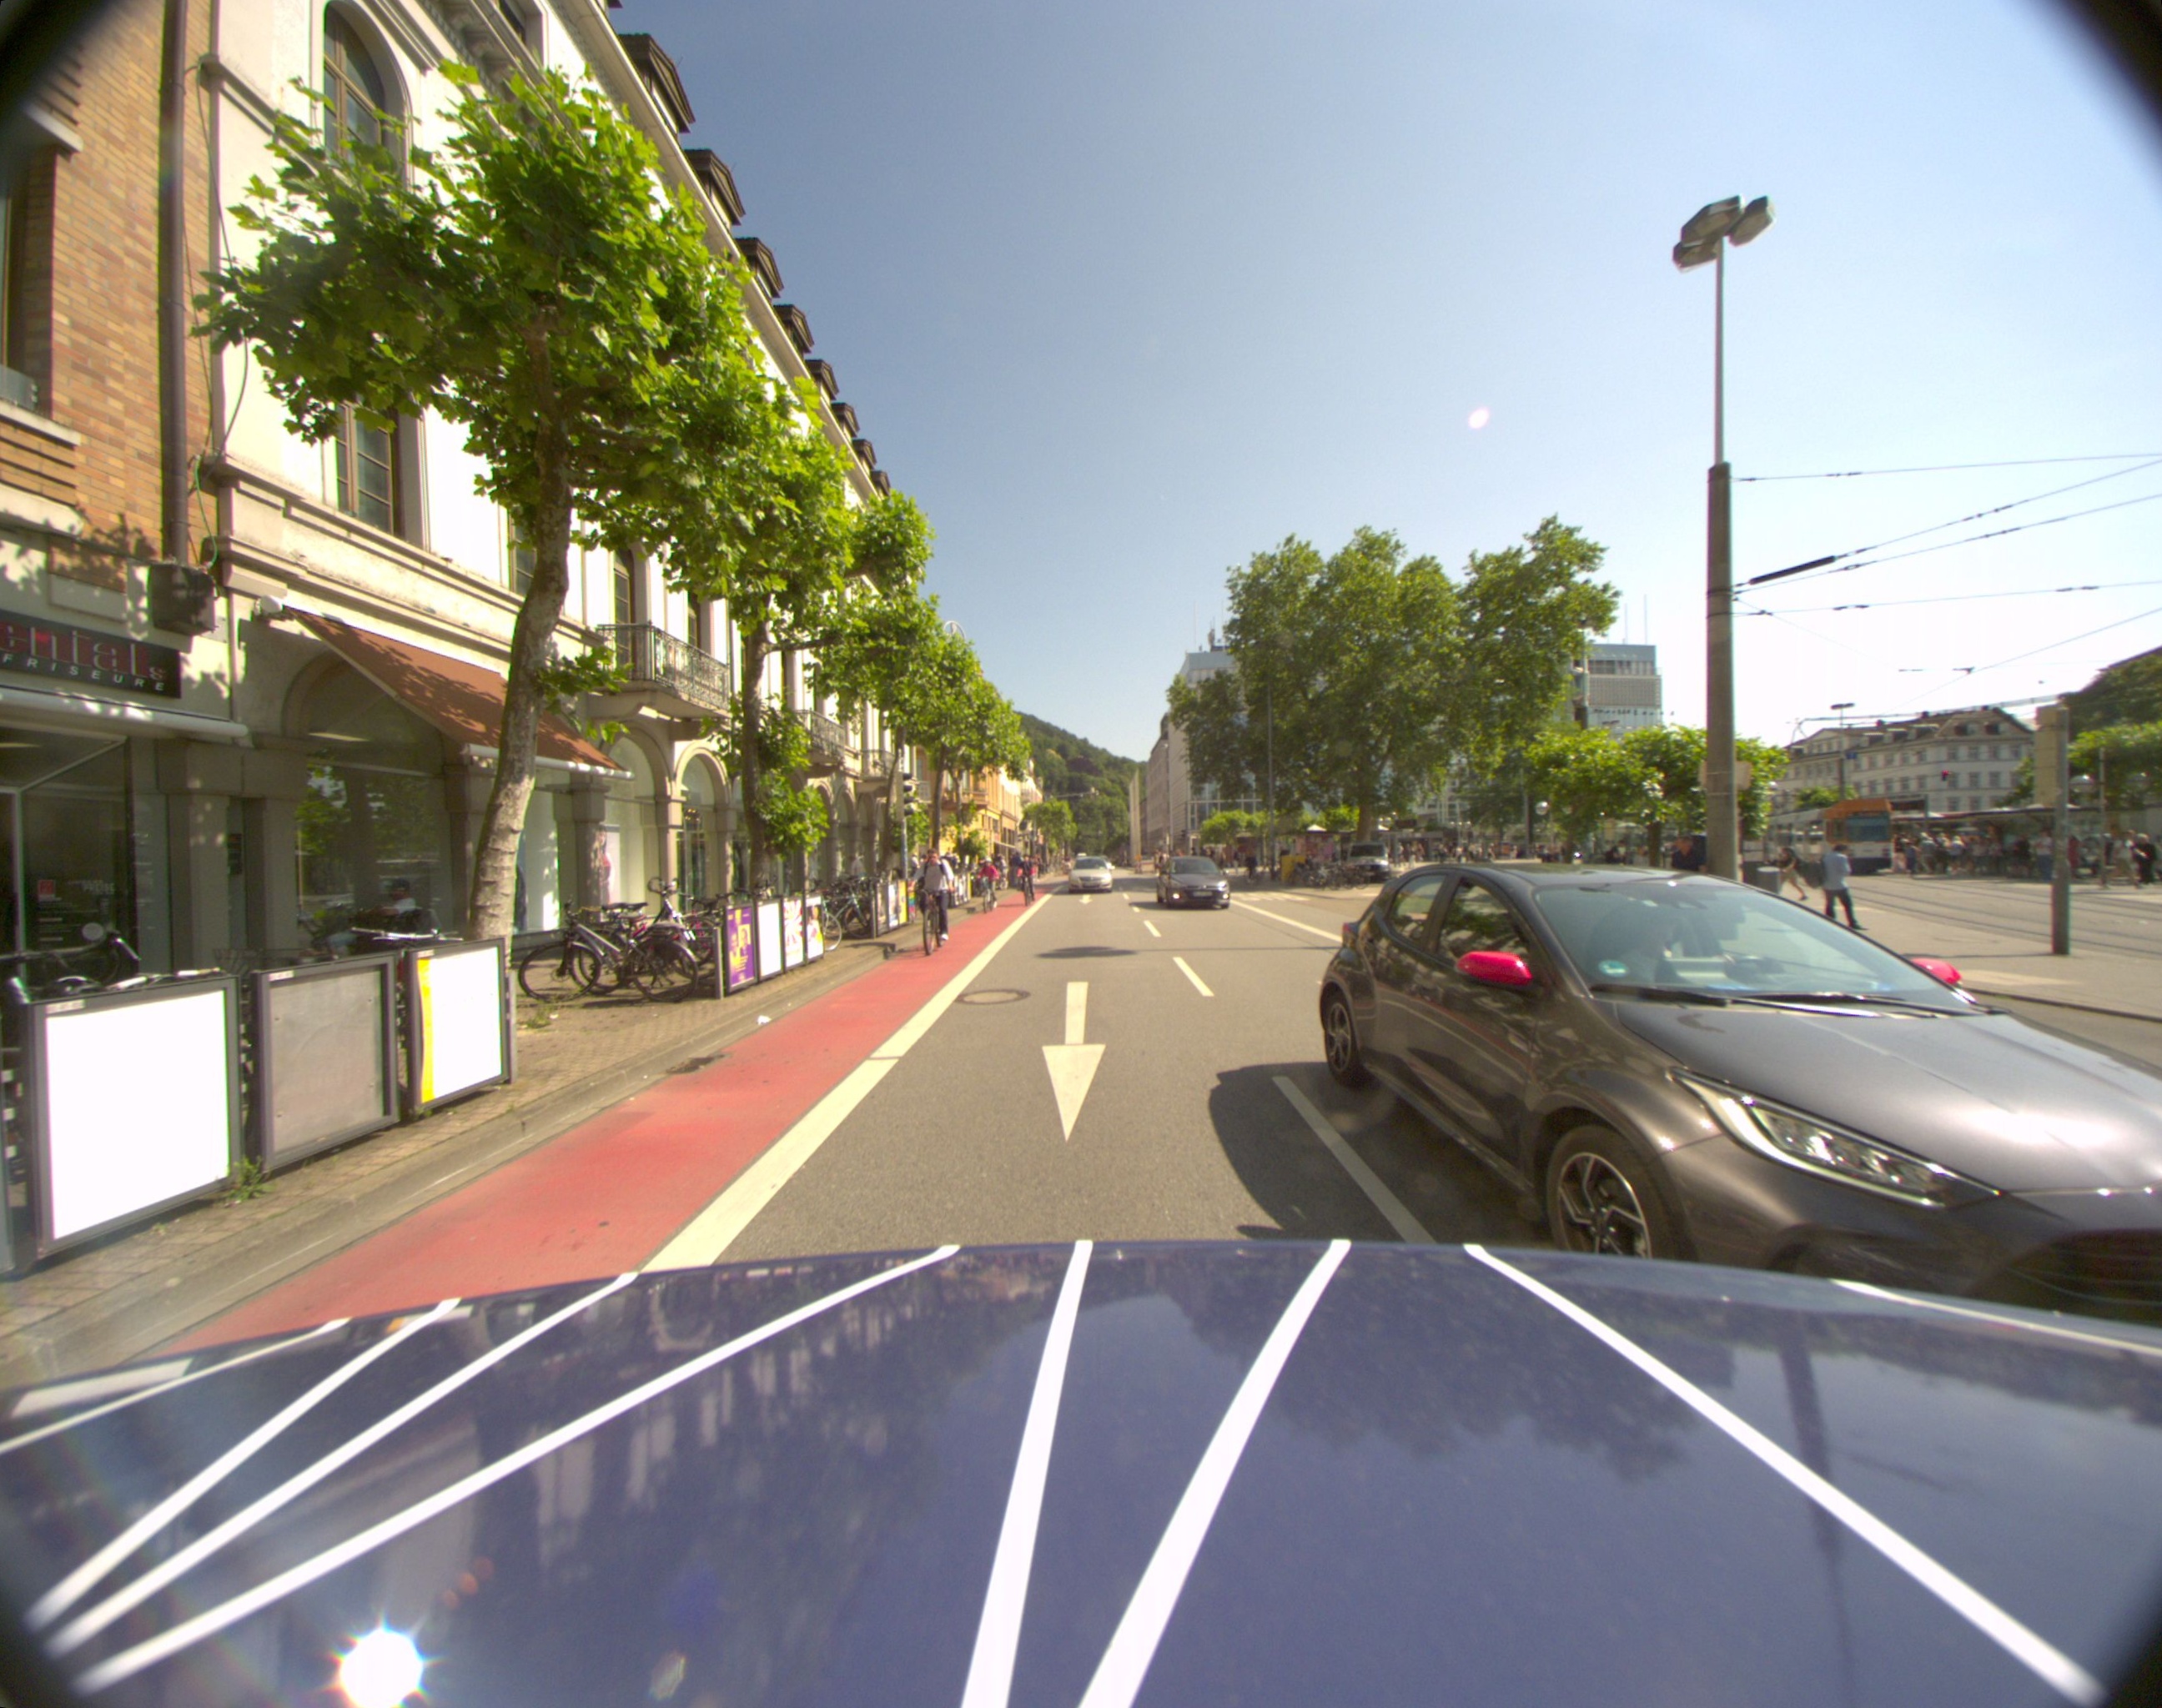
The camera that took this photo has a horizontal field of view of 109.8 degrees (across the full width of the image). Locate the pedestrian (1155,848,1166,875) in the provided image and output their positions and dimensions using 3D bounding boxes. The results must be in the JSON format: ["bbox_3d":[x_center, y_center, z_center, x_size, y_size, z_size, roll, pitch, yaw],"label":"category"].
[{"bbox_3d":[5.830,0.555,56.018,0.639,1.903,0.733,-3,1,-1],"label":"pedestrian"}]

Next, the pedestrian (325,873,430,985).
[{"bbox_3d":[-8.936,0.925,9.653,0.653,1.299,0.868,-2,1,43],"label":"pedestrian"}]

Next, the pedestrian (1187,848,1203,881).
[{"bbox_3d":[6.376,0.599,42.379,0.537,1.773,0.745,-2,1,35],"label":"pedestrian"}]

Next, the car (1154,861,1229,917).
[{"bbox_3d":[3.145,0.946,22.304,1.699,1.397,4.000,2,1,2],"label":"car"}]

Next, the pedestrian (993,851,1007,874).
[{"bbox_3d":[-6.234,0.650,58.192,0.733,1.794,0.749,-1,1,27],"label":"pedestrian"}]

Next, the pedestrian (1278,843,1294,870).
[{"bbox_3d":[13.293,0.168,49.304,0.751,1.737,0.782,-3,1,-1],"label":"pedestrian"}]

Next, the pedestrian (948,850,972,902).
[{"bbox_3d":[-4.581,0.813,28.787,0.702,1.891,0.776,-3,1,-1],"label":"pedestrian"}]

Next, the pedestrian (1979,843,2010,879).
[{"bbox_3d":[39.002,0.296,32.443,0.579,1.540,0.679,1,0,-23],"label":"pedestrian"}]

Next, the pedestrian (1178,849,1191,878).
[{"bbox_3d":[6.241,0.566,45.902,0.612,1.737,0.752,-2,1,-1],"label":"pedestrian"}]

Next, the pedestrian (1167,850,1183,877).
[{"bbox_3d":[6.213,0.600,50.410,0.876,1.737,0.733,-3,1,-1],"label":"pedestrian"}]

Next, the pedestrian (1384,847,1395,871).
[{"bbox_3d":[21.788,0.366,53.657,0.638,1.683,0.753,-3,1,23],"label":"pedestrian"}]

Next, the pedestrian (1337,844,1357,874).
[{"bbox_3d":[15.754,0.308,44.988,0.752,1.737,0.782,-3,1,-9],"label":"pedestrian"}]

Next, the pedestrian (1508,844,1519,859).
[{"bbox_3d":[43.698,-0.274,76.794,0.555,1.464,0.758,-3,1,0],"label":"pedestrian"}]

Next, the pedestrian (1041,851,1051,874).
[{"bbox_3d":[-2.779,0.674,60.462,0.651,1.770,0.621,0,2,-16],"label":"pedestrian"}]

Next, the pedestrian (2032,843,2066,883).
[{"bbox_3d":[37.891,0.353,29.738,0.579,1.540,0.679,1,0,-23],"label":"pedestrian"}]

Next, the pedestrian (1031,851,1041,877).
[{"bbox_3d":[-2.998,0.688,50.772,0.578,1.719,0.718,1,-1,-7],"label":"pedestrian"}]

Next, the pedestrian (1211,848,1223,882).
[{"bbox_3d":[7.326,0.579,41.034,0.517,1.825,0.716,-3,1,8],"label":"pedestrian"}]

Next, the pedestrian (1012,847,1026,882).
[{"bbox_3d":[-3.299,0.538,40.514,0.578,1.835,0.717,-3,1,-2],"label":"pedestrian"}]

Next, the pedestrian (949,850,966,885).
[{"bbox_3d":[-6.387,0.680,39.318,0.721,1.772,0.776,-3,1,-1],"label":"pedestrian"}]

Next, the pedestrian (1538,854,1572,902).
[{"bbox_3d":[15.462,0.780,24.797,0.624,1.515,0.680,1,0,1],"label":"pedestrian"}]

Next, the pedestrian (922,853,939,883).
[{"bbox_3d":[-8.682,0.795,43.829,0.798,1.638,0.622,-3,1,1],"label":"pedestrian"}]

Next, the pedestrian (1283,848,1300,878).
[{"bbox_3d":[12.571,0.513,45.348,0.750,1.737,0.784,-2,1,27],"label":"pedestrian"}]

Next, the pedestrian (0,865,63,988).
[{"bbox_3d":[-12.285,0.828,8.838,0.524,1.379,0.415,-2,1,43],"label":"pedestrian"}]

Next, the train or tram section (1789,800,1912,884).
[{"bbox_3d":[39.428,-0.671,39.312,2.615,3.805,9.536,-2,1,34],"label":"train or tram section"}]

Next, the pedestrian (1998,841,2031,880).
[{"bbox_3d":[37.159,0.253,30.242,0.579,1.540,0.679,1,0,-23],"label":"pedestrian"}]

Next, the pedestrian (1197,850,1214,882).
[{"bbox_3d":[6.631,0.630,40.455,0.630,1.639,0.753,-2,1,27],"label":"pedestrian"}]

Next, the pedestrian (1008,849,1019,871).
[{"bbox_3d":[-5.792,0.510,64.951,0.860,1.782,0.757,-1,1,-11],"label":"pedestrian"}]

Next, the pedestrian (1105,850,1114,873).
[{"bbox_3d":[2.235,0.559,59.651,0.699,1.774,0.578,0,1,-5],"label":"pedestrian"}]

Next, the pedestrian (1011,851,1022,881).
[{"bbox_3d":[-3.677,0.666,43.282,0.569,1.675,0.591,1,1,-2],"label":"pedestrian"}]

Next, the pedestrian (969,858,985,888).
[{"bbox_3d":[-5.467,0.994,39.916,0.517,1.574,0.584,-2,1,40],"label":"pedestrian"}]

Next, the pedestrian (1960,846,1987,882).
[{"bbox_3d":[38.901,0.440,33.122,0.681,1.540,0.577,1,0,-26],"label":"pedestrian"}]

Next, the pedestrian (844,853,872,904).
[{"bbox_3d":[-7.568,0.826,25.777,0.658,1.686,0.676,-3,1,2],"label":"pedestrian"}]

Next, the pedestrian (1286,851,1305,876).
[{"bbox_3d":[12.172,0.528,43.157,0.752,1.399,0.782,-3,1,-9],"label":"pedestrian"}]

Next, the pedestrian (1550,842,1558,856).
[{"bbox_3d":[50.640,-0.514,81.368,0.554,1.464,0.759,-2,1,37],"label":"pedestrian"}]

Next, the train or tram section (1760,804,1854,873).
[{"bbox_3d":[44.800,-0.985,47.175,2.615,3.805,9.536,-2,1,34],"label":"train or tram section"}]

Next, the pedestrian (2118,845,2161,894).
[{"bbox_3d":[34.588,0.506,24.824,0.626,1.588,0.679,1,0,-22],"label":"pedestrian"}]

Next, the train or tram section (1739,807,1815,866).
[{"bbox_3d":[50.163,-1.298,55.024,2.615,3.805,9.536,-2,1,34],"label":"train or tram section"}]

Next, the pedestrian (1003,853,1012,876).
[{"bbox_3d":[-5.502,0.784,56.750,0.578,1.650,0.621,-1,0,-11],"label":"pedestrian"}]

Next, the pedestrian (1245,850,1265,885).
[{"bbox_3d":[8.601,0.685,37.552,0.643,1.682,0.642,-3,1,-13],"label":"pedestrian"}]

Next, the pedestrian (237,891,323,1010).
[{"bbox_3d":[-9.071,1.061,8.624,0.726,1.245,0.593,-2,1,44],"label":"pedestrian"}]

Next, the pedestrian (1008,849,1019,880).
[{"bbox_3d":[-3.932,0.622,44.095,0.578,1.774,0.699,0,1,-2],"label":"pedestrian"}]

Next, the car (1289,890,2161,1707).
[{"bbox_3d":[2.443,1.004,3.430,1.782,1.466,3.999,0,0,-2],"label":"car"}]

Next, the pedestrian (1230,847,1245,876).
[{"bbox_3d":[9.721,0.456,47.182,0.751,1.737,0.667,-3,1,-1],"label":"pedestrian"}]

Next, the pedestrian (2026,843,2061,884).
[{"bbox_3d":[36.929,0.356,29.152,0.579,1.540,0.679,1,0,-23],"label":"pedestrian"}]

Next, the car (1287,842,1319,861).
[{"bbox_3d":[24.684,-0.239,84.741,1.999,2.002,3.997,-3,0,-6],"label":"car"}]

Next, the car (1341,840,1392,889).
[{"bbox_3d":[13.398,0.423,35.512,1.996,2.002,5.074,-3,0,22],"label":"car"}]

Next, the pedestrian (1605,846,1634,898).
[{"bbox_3d":[18.965,0.637,26.758,0.626,1.783,0.678,1,0,-41],"label":"pedestrian"}]

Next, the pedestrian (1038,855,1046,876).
[{"bbox_3d":[-3.009,0.888,58.309,0.531,1.586,0.588,1,1,-11],"label":"pedestrian"}]

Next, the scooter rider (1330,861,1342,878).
[{"bbox_3d":[13.315,0.822,39.664,0.506,0.834,0.349,-2,1,34],"label":"scooter rider"}]

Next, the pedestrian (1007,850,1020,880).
[{"bbox_3d":[-3.796,0.604,42.666,0.578,1.675,0.622,-3,1,-2],"label":"pedestrian"}]

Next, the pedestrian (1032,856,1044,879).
[{"bbox_3d":[-2.806,0.909,49.895,0.673,1.488,0.637,0,1,-13],"label":"pedestrian"}]

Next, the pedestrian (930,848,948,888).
[{"bbox_3d":[-6.560,0.627,35.142,0.635,1.782,0.776,-3,1,-1],"label":"pedestrian"}]

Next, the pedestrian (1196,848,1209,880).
[{"bbox_3d":[6.953,0.555,43.460,0.595,1.835,0.738,0,1,-1],"label":"pedestrian"}]

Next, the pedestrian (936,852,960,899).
[{"bbox_3d":[-4.440,0.708,25.365,0.606,1.529,0.666,-3,1,-1],"label":"pedestrian"}]

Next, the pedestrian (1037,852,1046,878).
[{"bbox_3d":[-2.894,0.785,55.757,0.578,1.863,0.680,1,0,-11],"label":"pedestrian"}]

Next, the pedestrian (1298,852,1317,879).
[{"bbox_3d":[12.620,0.637,42.298,0.752,1.416,0.673,-3,1,-9],"label":"pedestrian"}]

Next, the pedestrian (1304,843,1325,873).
[{"bbox_3d":[12.736,0.220,41.473,0.752,1.587,0.782,-3,1,-9],"label":"pedestrian"}]

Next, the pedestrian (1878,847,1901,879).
[{"bbox_3d":[40.047,0.447,37.644,0.577,1.540,0.682,1,0,27],"label":"pedestrian"}]

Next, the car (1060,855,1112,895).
[{"bbox_3d":[0.257,0.818,31.060,1.918,1.401,4.000,-3,0,2],"label":"car"}]
